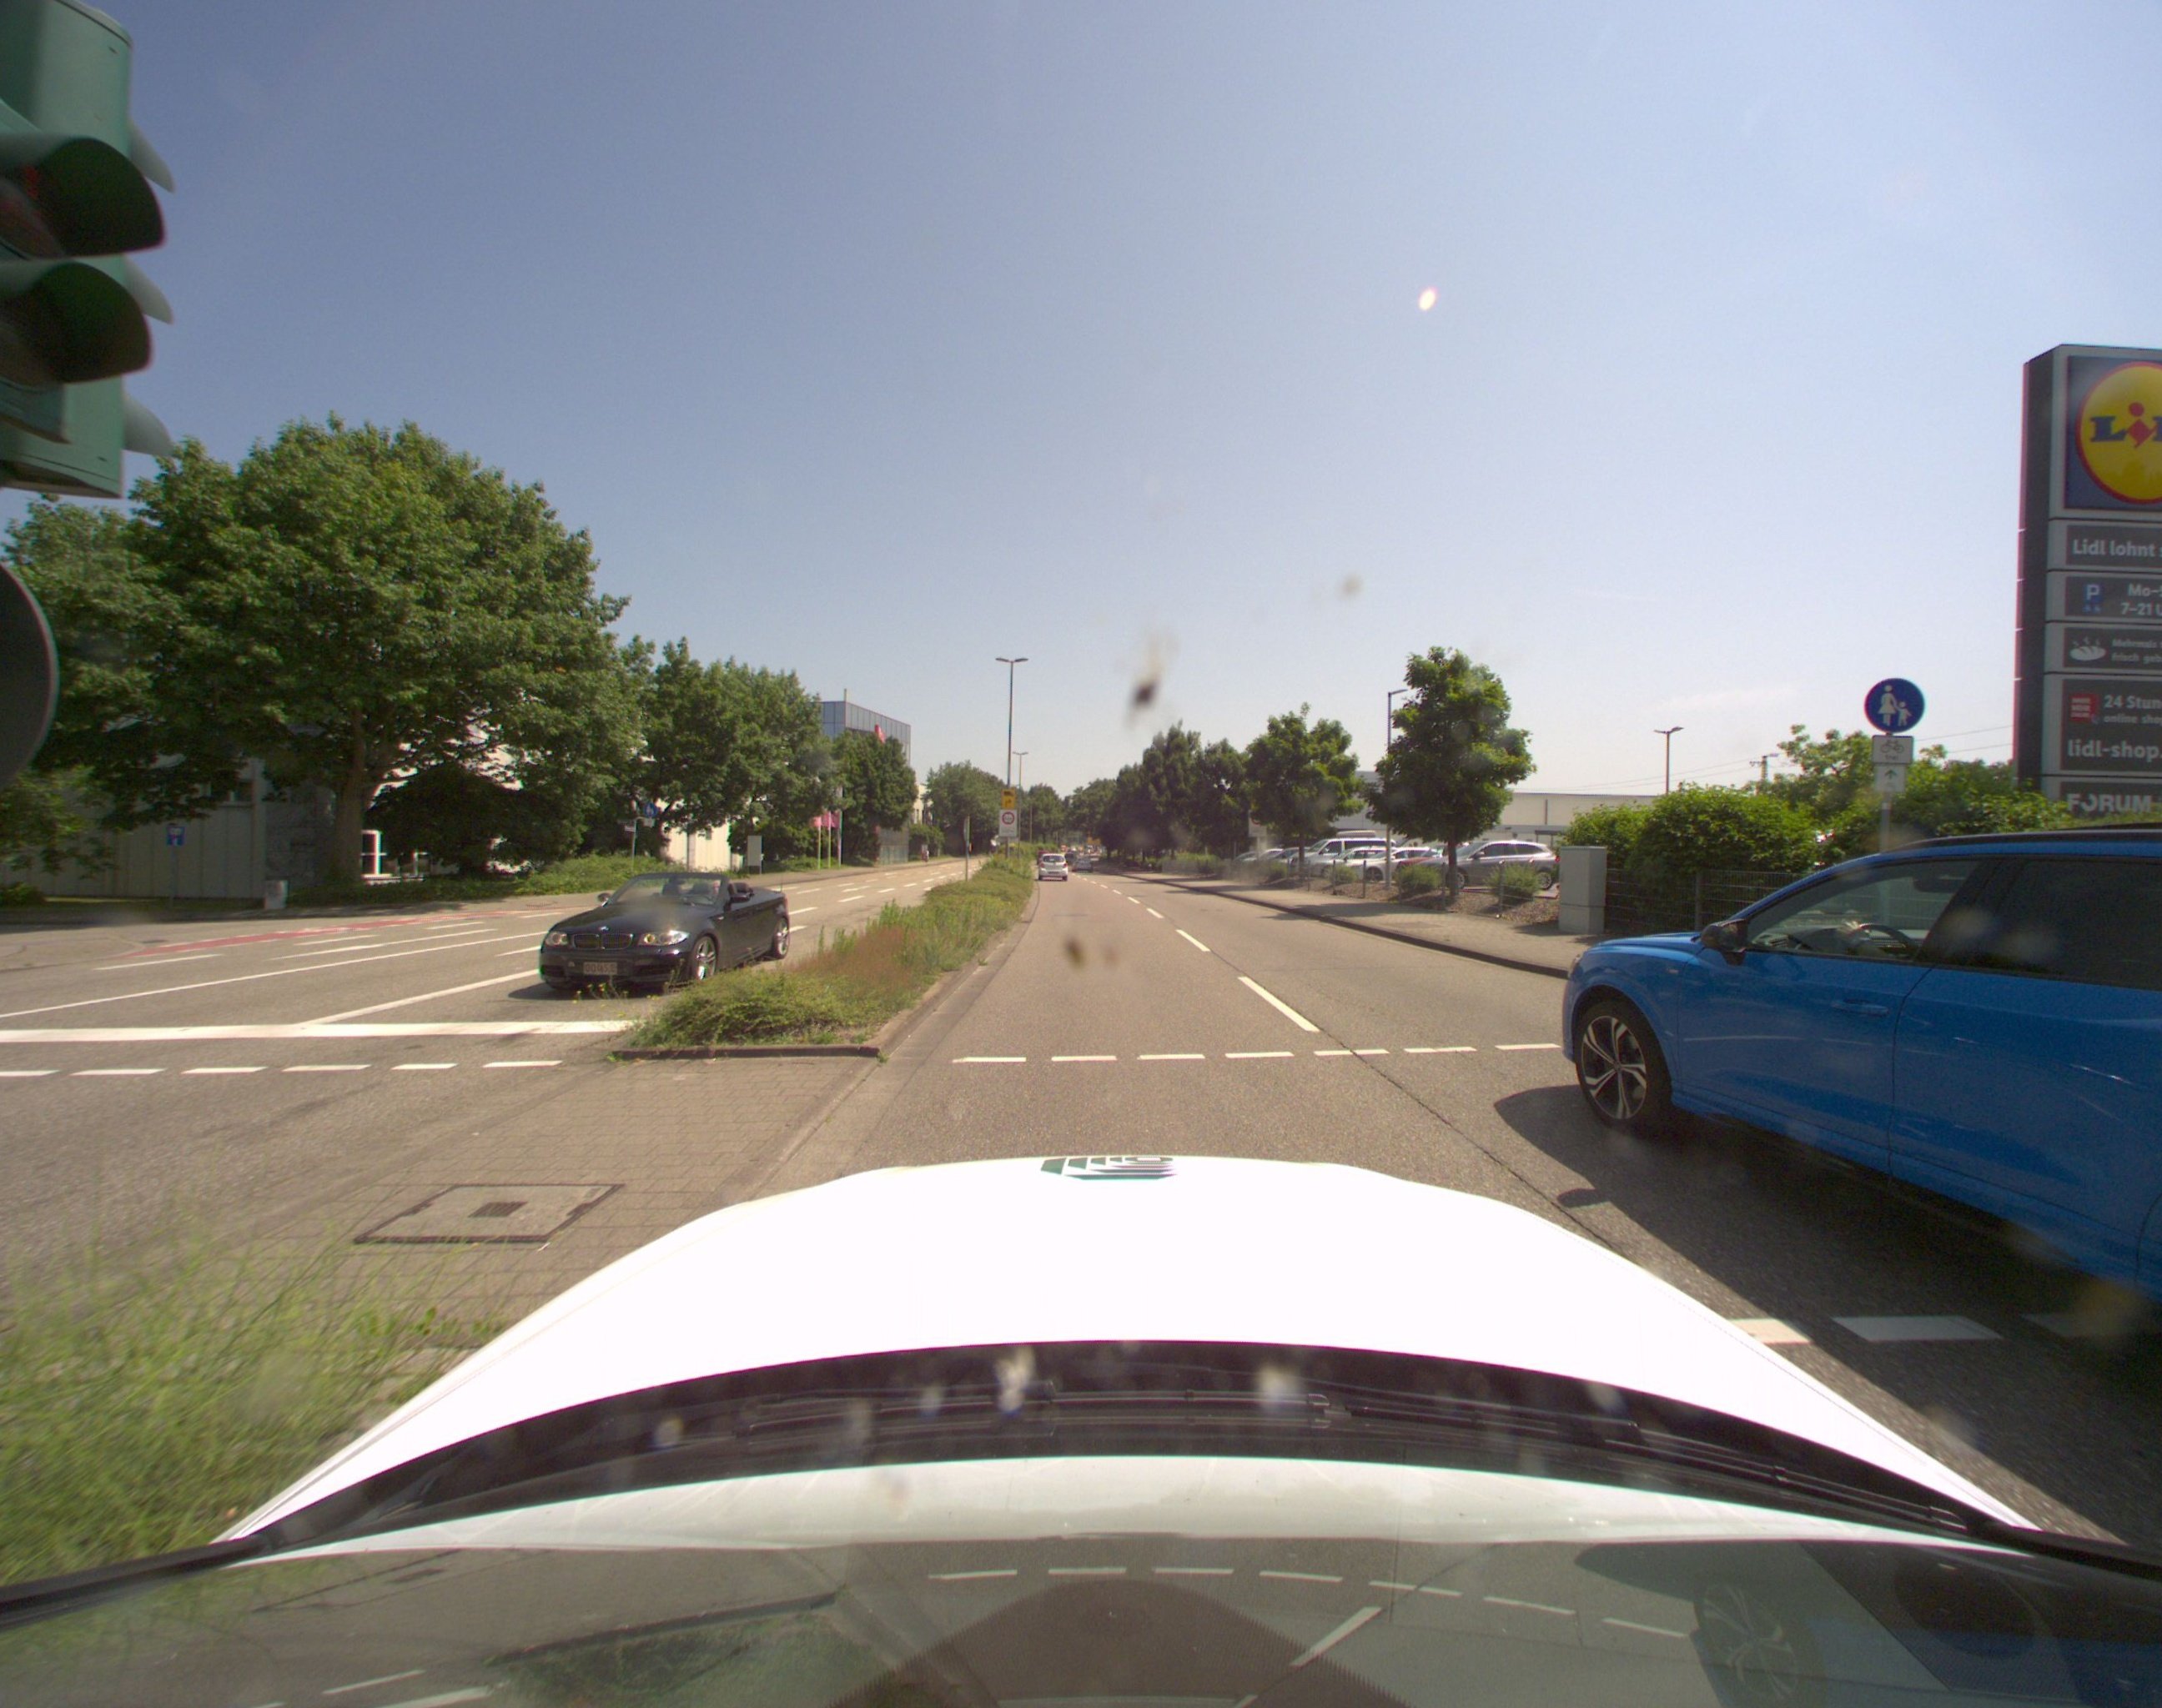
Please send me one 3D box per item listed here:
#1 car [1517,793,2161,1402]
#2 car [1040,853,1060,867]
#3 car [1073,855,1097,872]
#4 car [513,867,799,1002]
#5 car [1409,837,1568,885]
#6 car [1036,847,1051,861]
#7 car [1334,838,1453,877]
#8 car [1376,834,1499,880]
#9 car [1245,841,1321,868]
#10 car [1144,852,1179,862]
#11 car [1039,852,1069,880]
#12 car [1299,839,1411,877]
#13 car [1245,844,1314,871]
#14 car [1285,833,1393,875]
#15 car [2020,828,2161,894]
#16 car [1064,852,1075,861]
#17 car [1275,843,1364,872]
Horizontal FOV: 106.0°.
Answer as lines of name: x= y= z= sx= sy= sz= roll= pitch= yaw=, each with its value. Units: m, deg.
car: x=3.744 y=0.635 z=3.187 sx=1.802 sy=1.592 sz=4.350 roll=0 pitch=0 yaw=1
car: x=-3.276 y=0.606 z=85.787 sx=1.881 sy=1.354 sz=3.994 roll=2 pitch=0 yaw=-4
car: x=0.348 y=0.869 z=75.222 sx=1.863 sy=1.473 sz=3.992 roll=2 pitch=0 yaw=-5
car: x=-5.179 y=0.872 z=10.640 sx=1.725 sy=1.323 sz=4.145 roll=-1 pitch=0 yaw=-3
car: x=12.656 y=0.204 z=25.461 sx=4.157 sy=1.421 sz=1.697 roll=1 pitch=0 yaw=-1
car: x=-4.692 y=0.016 z=101.430 sx=1.881 sy=1.608 sz=3.995 roll=-1 pitch=0 yaw=-4
car: x=12.077 y=0.131 z=31.584 sx=3.987 sy=1.421 sz=1.696 roll=1 pitch=0 yaw=-3
car: x=12.429 y=0.104 z=28.523 sx=3.585 sy=1.536 sz=1.719 roll=0 pitch=0 yaw=-7
car: x=11.759 y=0.028 z=47.567 sx=3.977 sy=1.534 sz=1.825 roll=1 pitch=-1 yaw=-3
car: x=10.882 y=0.429 z=110.023 sx=1.963 sy=1.352 sz=4.661 roll=-1 pitch=0 yaw=-39
car: x=-1.554 y=0.670 z=47.172 sx=1.634 sy=1.552 sz=3.322 roll=2 pitch=0 yaw=-2
car: x=12.089 y=0.166 z=36.087 sx=4.353 sy=1.593 sz=1.826 roll=1 pitch=0 yaw=-1
car: x=12.791 y=0.229 z=52.548 sx=3.982 sy=1.596 sz=1.823 roll=1 pitch=0 yaw=-7
car: x=12.290 y=0.010 z=38.962 sx=4.605 sy=1.924 sz=1.825 roll=1 pitch=0 yaw=-3
car: x=23.656 y=0.138 z=17.688 sx=1.731 sy=1.394 sz=4.076 roll=-1 pitch=-1 yaw=-2
car: x=-1.658 y=0.337 z=115.290 sx=1.438 sy=1.348 sz=3.455 roll=-1 pitch=0 yaw=-3
car: x=12.120 y=0.177 z=41.565 sx=3.977 sy=1.389 sz=1.825 roll=1 pitch=0 yaw=-3
